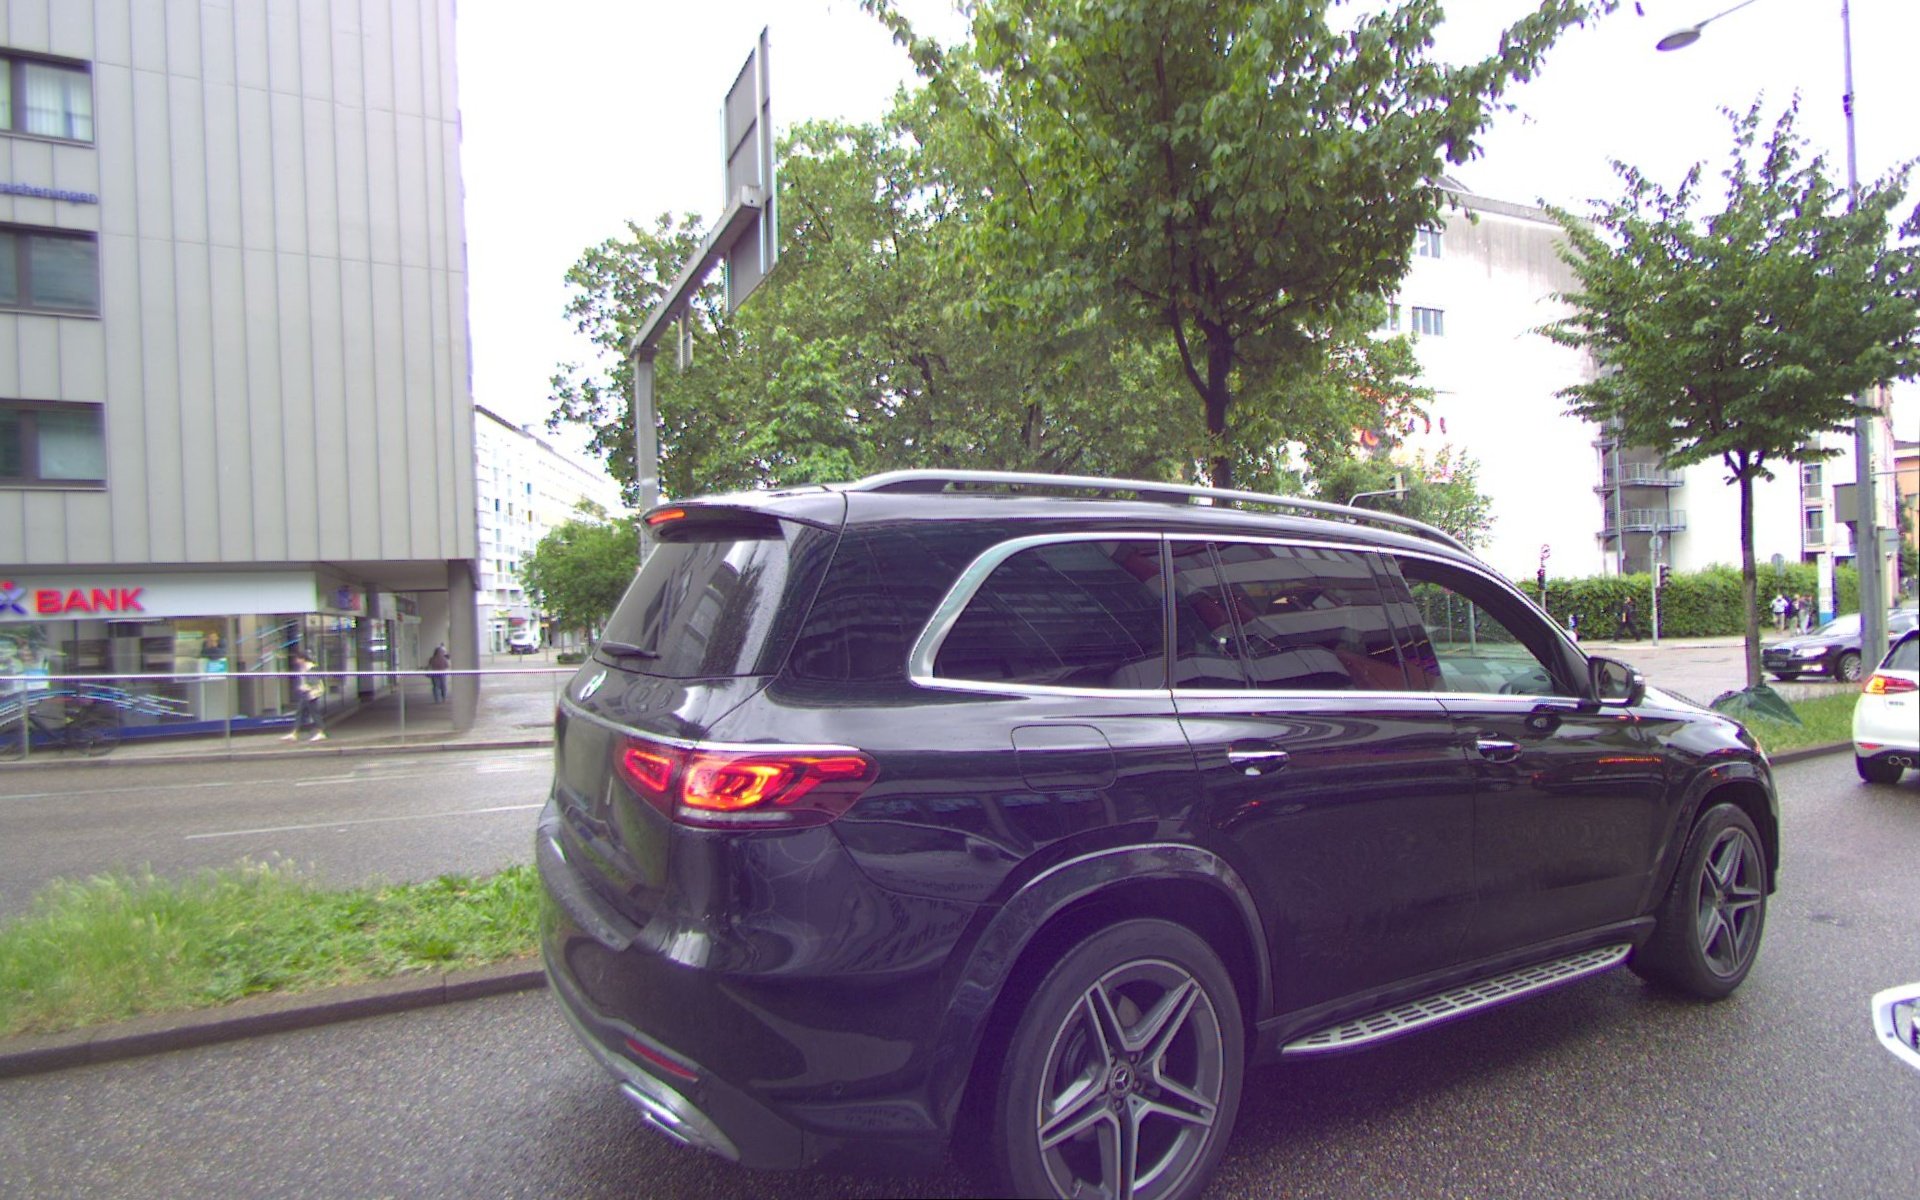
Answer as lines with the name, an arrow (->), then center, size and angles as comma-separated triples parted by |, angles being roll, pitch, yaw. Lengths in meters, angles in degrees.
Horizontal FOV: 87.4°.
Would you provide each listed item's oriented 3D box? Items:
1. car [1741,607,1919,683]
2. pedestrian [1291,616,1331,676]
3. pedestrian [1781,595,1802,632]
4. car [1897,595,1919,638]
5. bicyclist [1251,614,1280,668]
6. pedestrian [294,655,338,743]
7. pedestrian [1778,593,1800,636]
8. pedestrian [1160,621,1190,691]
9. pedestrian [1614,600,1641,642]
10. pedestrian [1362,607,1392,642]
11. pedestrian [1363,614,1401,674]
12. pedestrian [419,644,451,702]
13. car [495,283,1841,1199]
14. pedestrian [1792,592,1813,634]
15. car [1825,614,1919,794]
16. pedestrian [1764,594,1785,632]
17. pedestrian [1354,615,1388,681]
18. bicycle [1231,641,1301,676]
car -> 19.467, 0.915, 21.493 | 4.652, 1.506, 1.635 | 0, 1, -10
pedestrian -> 10.850, 1.411, 31.071 | 0.698, 1.807, 0.922 | 2, -1, -19
pedestrian -> 36.935, 0.615, 44.604 | 0.522, 1.620, 0.576 | 2, -1, -36
car -> 34.782, 0.571, 35.566 | 3.571, 1.506, 1.565 | 0, 1, -33
bicyclist -> 8.924, 1.196, 29.310 | 0.598, 1.550, 0.633 | 1, -2, -7
pedestrian -> -12.802, 1.949, 19.949 | 0.630, 1.659, 0.782 | 2, -1, -37
pedestrian -> 34.790, 0.614, 42.154 | 0.741, 1.771, 0.535 | 2, -1, -38
pedestrian -> 5.252, 1.358, 24.556 | 0.568, 1.684, 0.559 | -1, 0, 2
pedestrian -> 27.247, 0.856, 41.023 | 0.633, 1.664, 0.726 | 2, -1, -37
pedestrian -> 19.332, 1.139, 46.540 | 0.677, 1.599, 1.055 | 2, -1, -34
pedestrian -> 12.041, 1.249, 28.683 | 0.620, 1.684, 0.749 | -2, 0, -30
pedestrian -> -16.006, 2.219, 30.618 | 0.719, 1.719, 0.782 | 2, -3, -37
car -> 1.123, 0.510, 3.794 | 5.016, 1.895, 1.901 | 3, -1, -31
pedestrian -> 36.124, 0.549, 43.081 | 0.559, 1.771, 0.535 | 2, -1, -35
car -> 9.546, 0.867, 8.951 | 3.799, 1.448, 1.768 | 0, 0, -32
pedestrian -> 35.959, 0.579, 44.363 | 0.522, 1.620, 0.576 | 2, -1, -36
pedestrian -> 10.792, 1.253, 26.380 | 0.572, 1.684, 0.554 | -2, 0, -30
bicycle -> 8.946, 1.703, 29.344 | 1.907, 1.013, 0.615 | 1, -2, -13
